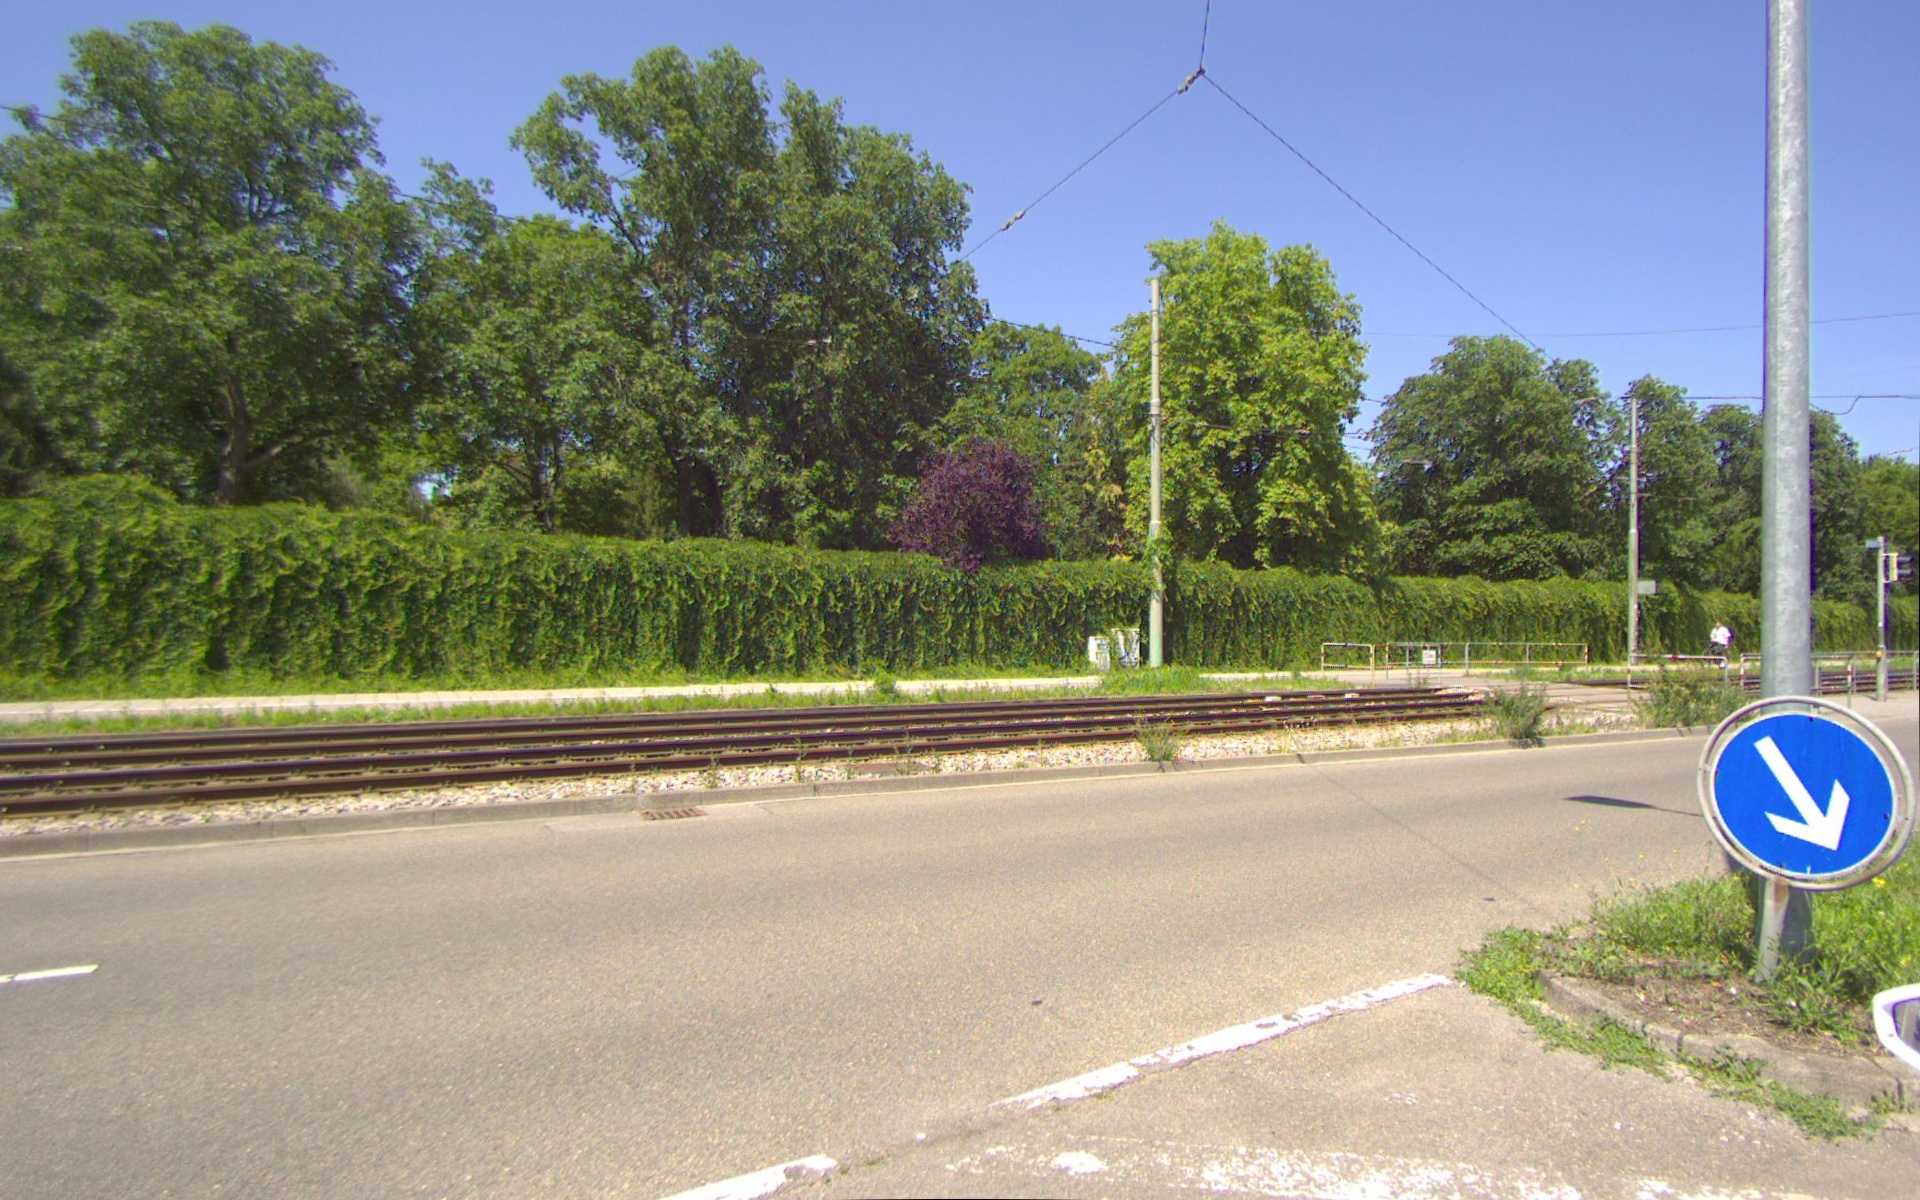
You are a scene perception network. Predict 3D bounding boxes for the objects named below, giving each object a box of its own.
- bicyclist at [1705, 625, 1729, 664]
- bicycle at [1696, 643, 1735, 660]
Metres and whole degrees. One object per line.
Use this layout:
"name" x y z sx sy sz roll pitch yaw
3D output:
"bicyclist" 29.038 1.704 38.516 0.554 1.497 0.555 1 -1 -29
"bicycle" 28.916 1.965 38.440 1.699 0.656 0.558 1 -1 -30
